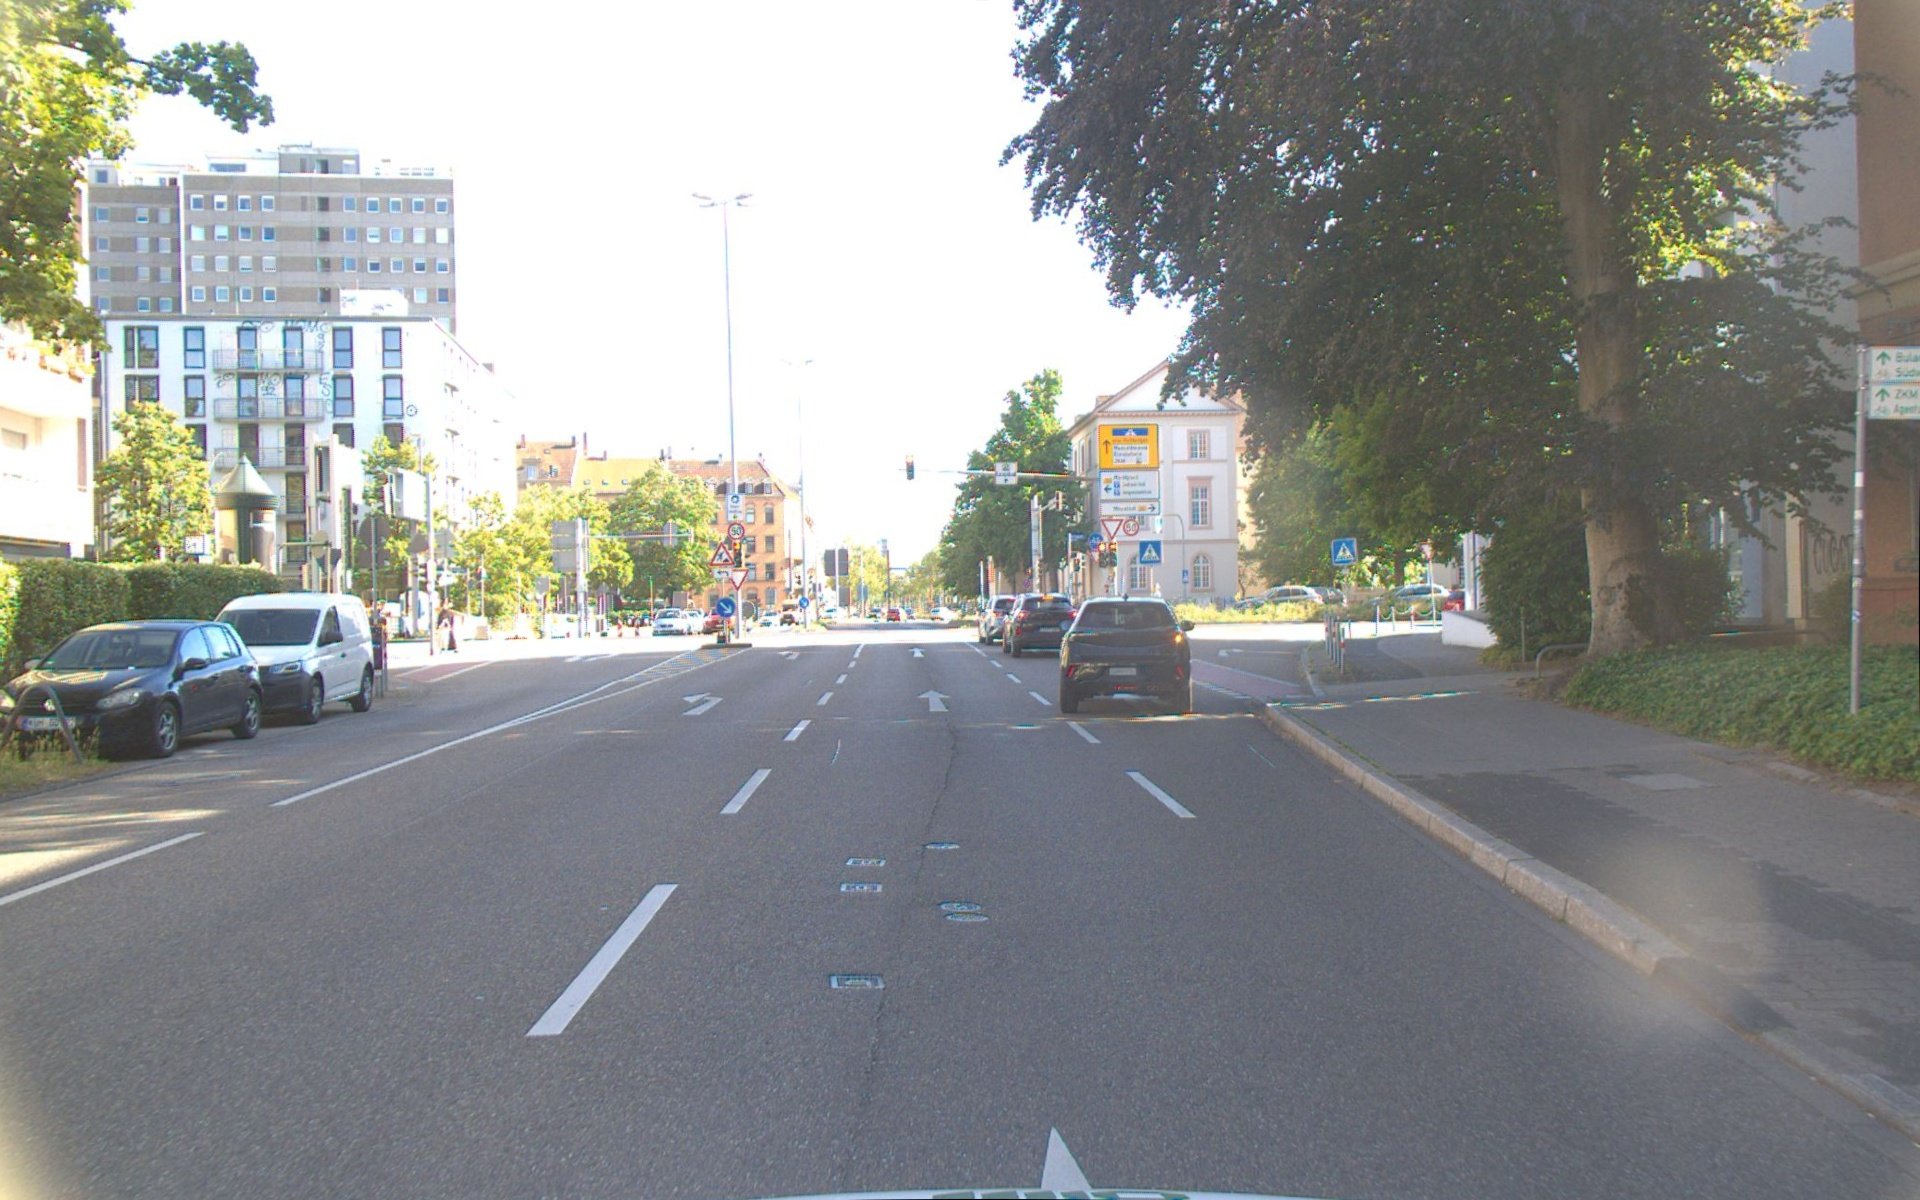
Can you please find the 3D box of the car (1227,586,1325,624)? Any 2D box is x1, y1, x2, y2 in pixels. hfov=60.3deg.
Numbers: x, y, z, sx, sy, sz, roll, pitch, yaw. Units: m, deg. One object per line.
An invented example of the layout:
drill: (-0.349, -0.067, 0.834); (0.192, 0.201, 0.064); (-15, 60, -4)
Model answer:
car: (14.595, 0.227, 76.430); (4.039, 1.629, 1.818); (-2, 0, -10)

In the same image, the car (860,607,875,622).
car: (-11.140, 1.771, 199.519); (1.774, 1.662, 3.997); (-2, 0, -3)

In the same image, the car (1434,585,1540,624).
car: (21.858, 0.184, 68.674); (3.802, 1.478, 1.773); (-2, 0, -10)

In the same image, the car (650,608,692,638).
car: (-16.539, 1.295, 94.801); (1.837, 1.645, 3.997); (-2, 0, -3)

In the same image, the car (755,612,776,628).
car: (-19.521, 1.983, 165.866); (1.837, 1.473, 3.997); (-2, 0, -3)

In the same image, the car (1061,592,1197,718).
car: (2.404, 0.702, 22.881); (1.708, 1.601, 3.561); (0, 0, 8)

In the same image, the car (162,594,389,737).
car: (-9.907, 0.864, 24.346); (1.783, 1.866, 4.557); (-1, 0, -5)

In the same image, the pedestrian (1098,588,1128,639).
pedestrian: (5.267, 0.455, 56.815); (0.810, 1.731, 0.916); (-1, 0, -9)

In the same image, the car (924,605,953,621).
car: (-2.547, 1.536, 195.720); (2.130, 1.728, 4.001); (-2, 0, 20)

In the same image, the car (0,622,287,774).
car: (-9.427, 1.053, 19.265); (1.638, 1.482, 4.108); (-1, 0, -3)

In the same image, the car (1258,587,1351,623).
car: (16.664, 0.237, 80.106); (4.039, 1.629, 1.818); (-2, 0, -10)

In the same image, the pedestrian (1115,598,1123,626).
pedestrian: (9.528, 0.720, 99.229); (0.431, 1.643, 0.467); (1, -1, 3)

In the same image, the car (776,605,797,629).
car: (-16.712, 1.647, 159.624); (1.774, 2.172, 3.997); (-2, 0, -3)

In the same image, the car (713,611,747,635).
car: (-15.258, 1.481, 109.789); (1.837, 1.473, 3.997); (-2, 0, -3)

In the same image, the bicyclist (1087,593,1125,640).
bicyclist: (5.234, 0.581, 59.172); (1.150, 1.662, 0.723); (-1, 0, -25)

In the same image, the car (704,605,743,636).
car: (-13.313, 1.128, 93.256); (1.755, 1.645, 3.998); (-2, 0, -3)

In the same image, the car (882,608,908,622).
car: (-7.048, 1.652, 180.748); (1.771, 1.431, 4.003); (-2, 0, 13)

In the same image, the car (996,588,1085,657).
car: (1.969, 0.527, 41.395); (1.794, 1.606, 3.837); (-2, 0, -3)

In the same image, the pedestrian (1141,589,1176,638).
pedestrian: (6.917, 0.464, 57.673); (1.020, 1.689, 0.783); (-2, 0, -5)

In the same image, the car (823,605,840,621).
car: (-13.862, 1.379, 178.800); (1.774, 1.662, 3.997); (-2, 0, -3)

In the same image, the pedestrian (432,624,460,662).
pedestrian: (-16.644, 1.383, 53.581); (0.656, 1.186, 0.668); (-1, 0, -36)

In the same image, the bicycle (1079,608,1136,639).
bicycle: (5.286, 0.841, 59.235); (2.005, 1.079, 0.617); (-1, 0, -25)

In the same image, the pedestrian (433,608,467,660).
pedestrian: (-16.868, 1.122, 54.672); (0.664, 1.678, 0.827); (-1, 0, 43)

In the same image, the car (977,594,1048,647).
car: (1.533, 0.588, 49.677); (1.793, 1.478, 3.985); (-2, 0, -3)
